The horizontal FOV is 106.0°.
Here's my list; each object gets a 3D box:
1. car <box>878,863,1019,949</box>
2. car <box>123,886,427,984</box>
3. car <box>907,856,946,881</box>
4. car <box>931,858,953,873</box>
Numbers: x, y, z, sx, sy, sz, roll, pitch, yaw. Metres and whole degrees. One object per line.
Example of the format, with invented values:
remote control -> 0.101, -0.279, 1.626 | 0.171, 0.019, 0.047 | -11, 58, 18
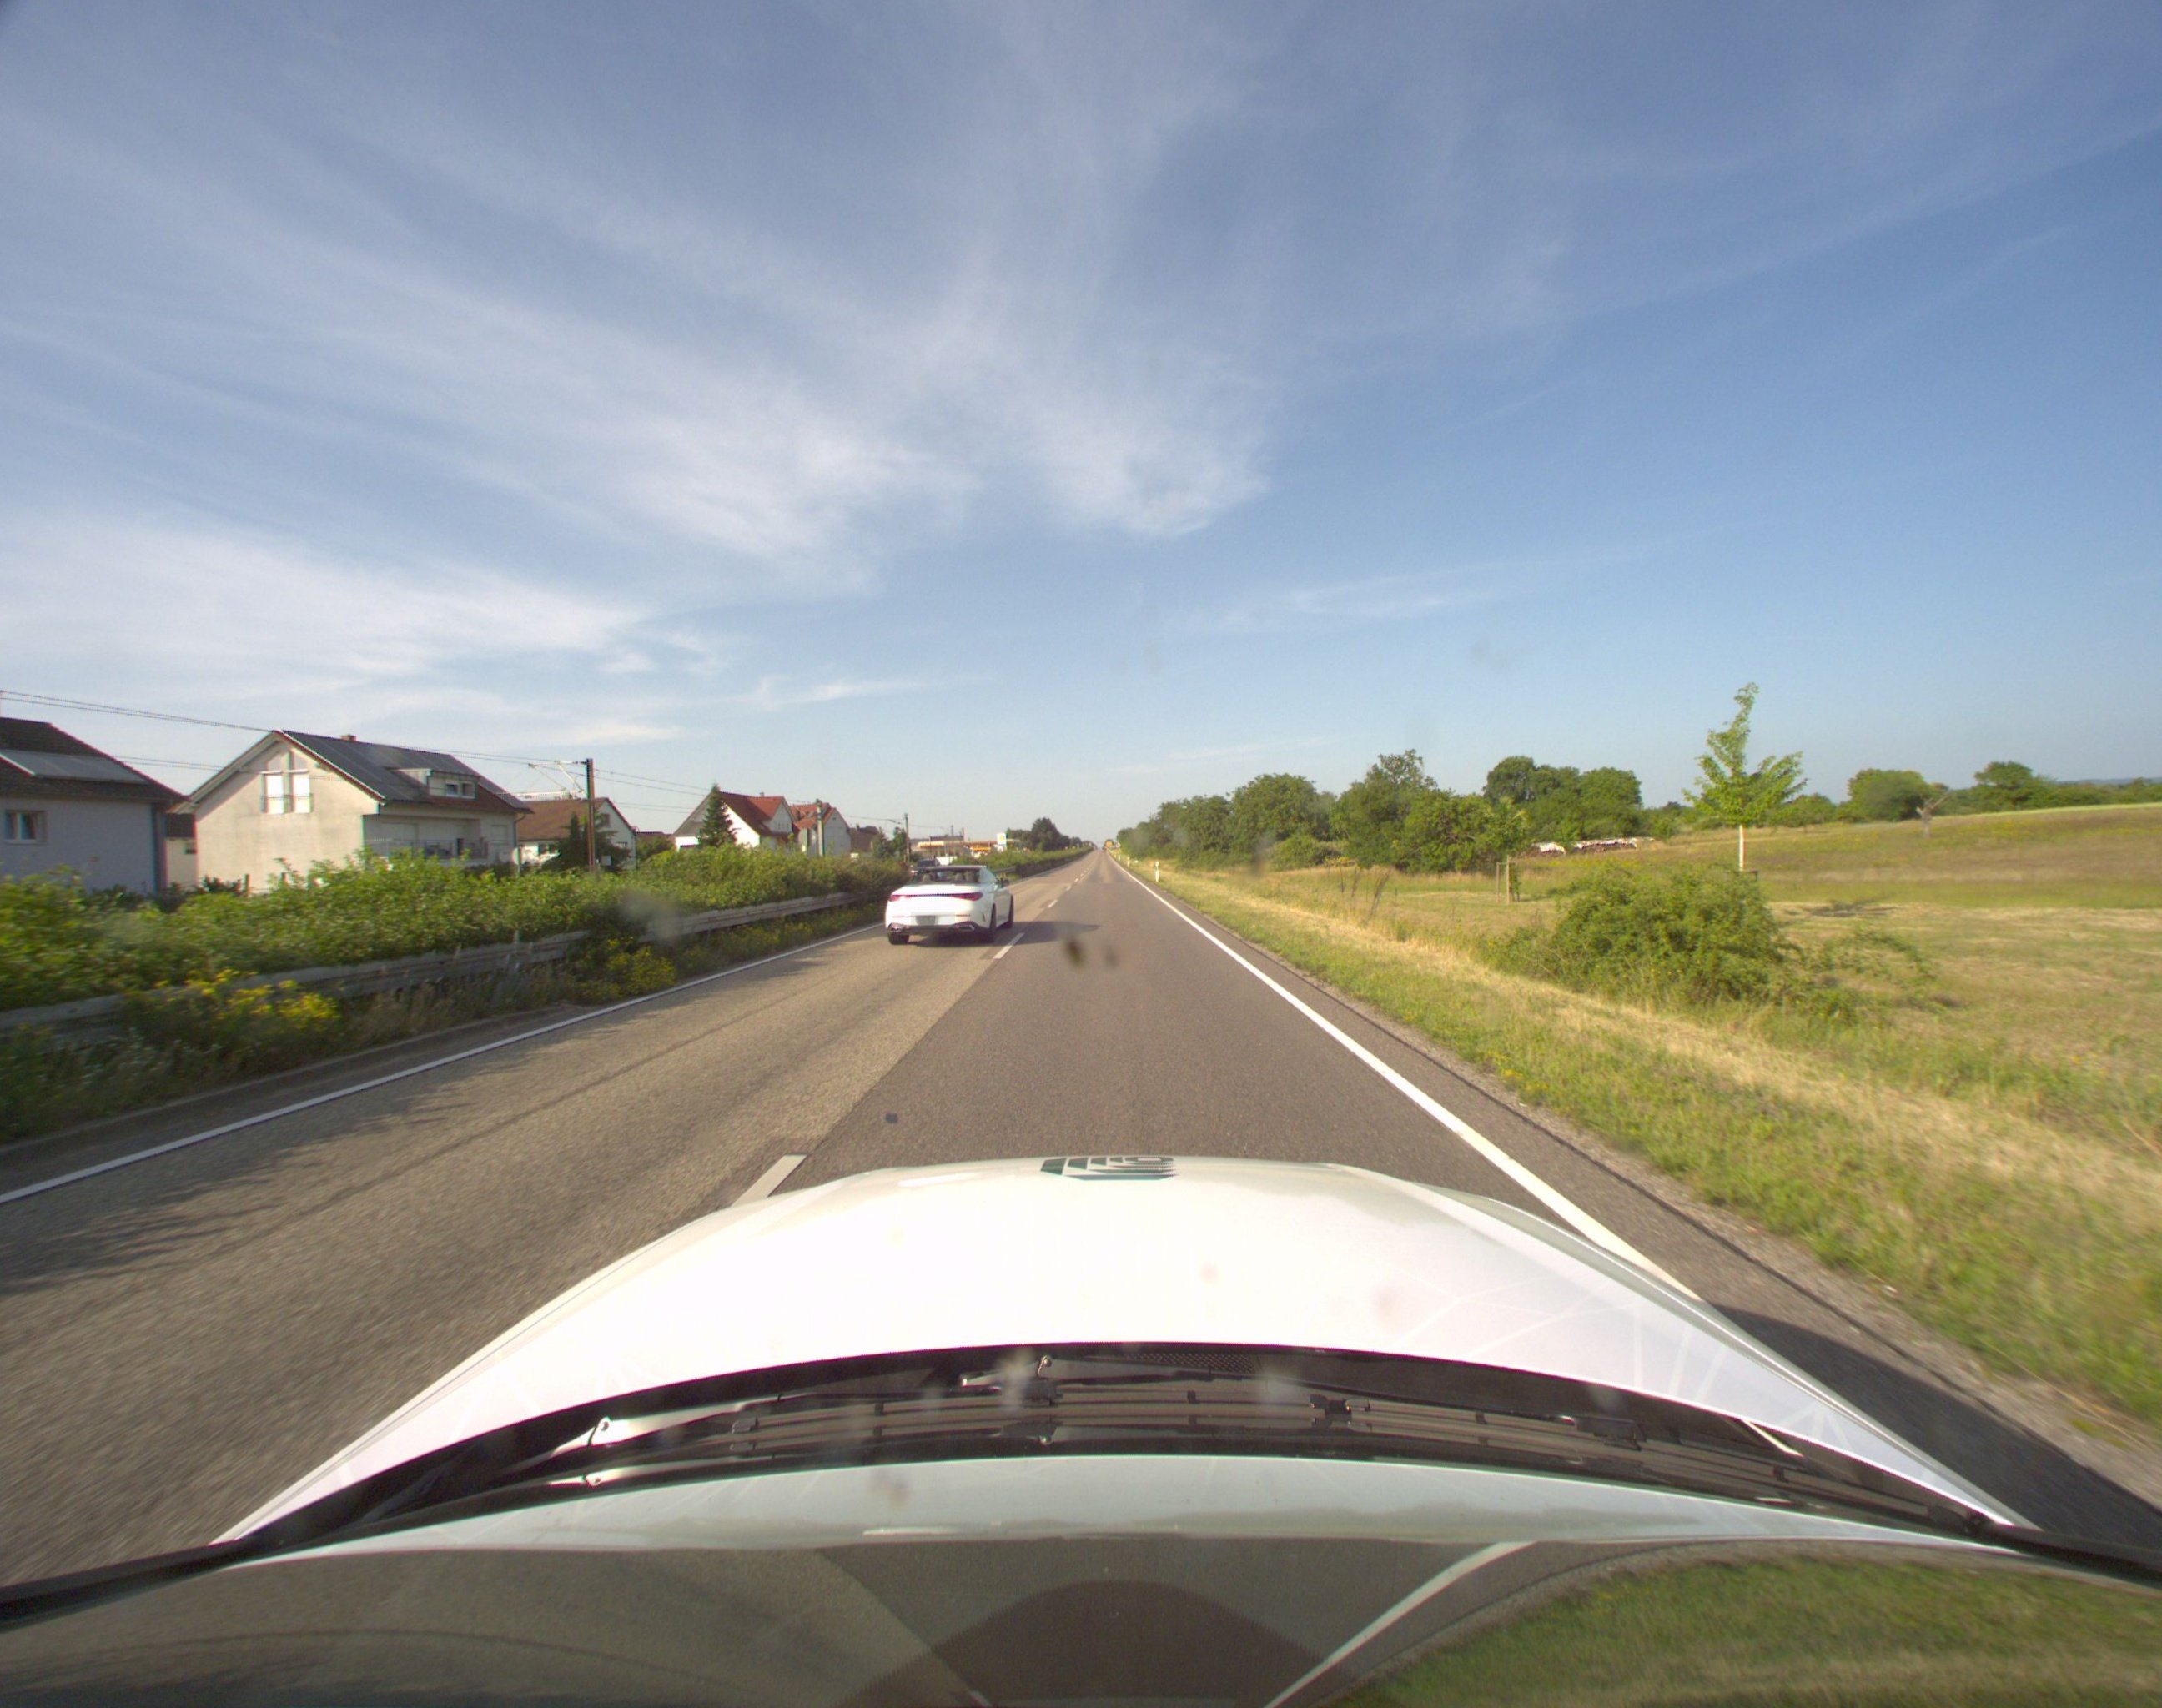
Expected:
car -> -2.355, 0.881, 15.782 | 1.764, 1.337, 4.952 | -1, 0, 2
car -> -15.807, 1.509, 16.381 | 1.654, 1.431, 4.327 | -4, 0, 1
car -> -10.990, 1.006, 58.253 | 1.723, 1.634, 4.320 | -5, 0, 1
car -> -16.986, 1.396, 99.660 | 1.986, 1.750, 4.001 | -1, 0, 1
